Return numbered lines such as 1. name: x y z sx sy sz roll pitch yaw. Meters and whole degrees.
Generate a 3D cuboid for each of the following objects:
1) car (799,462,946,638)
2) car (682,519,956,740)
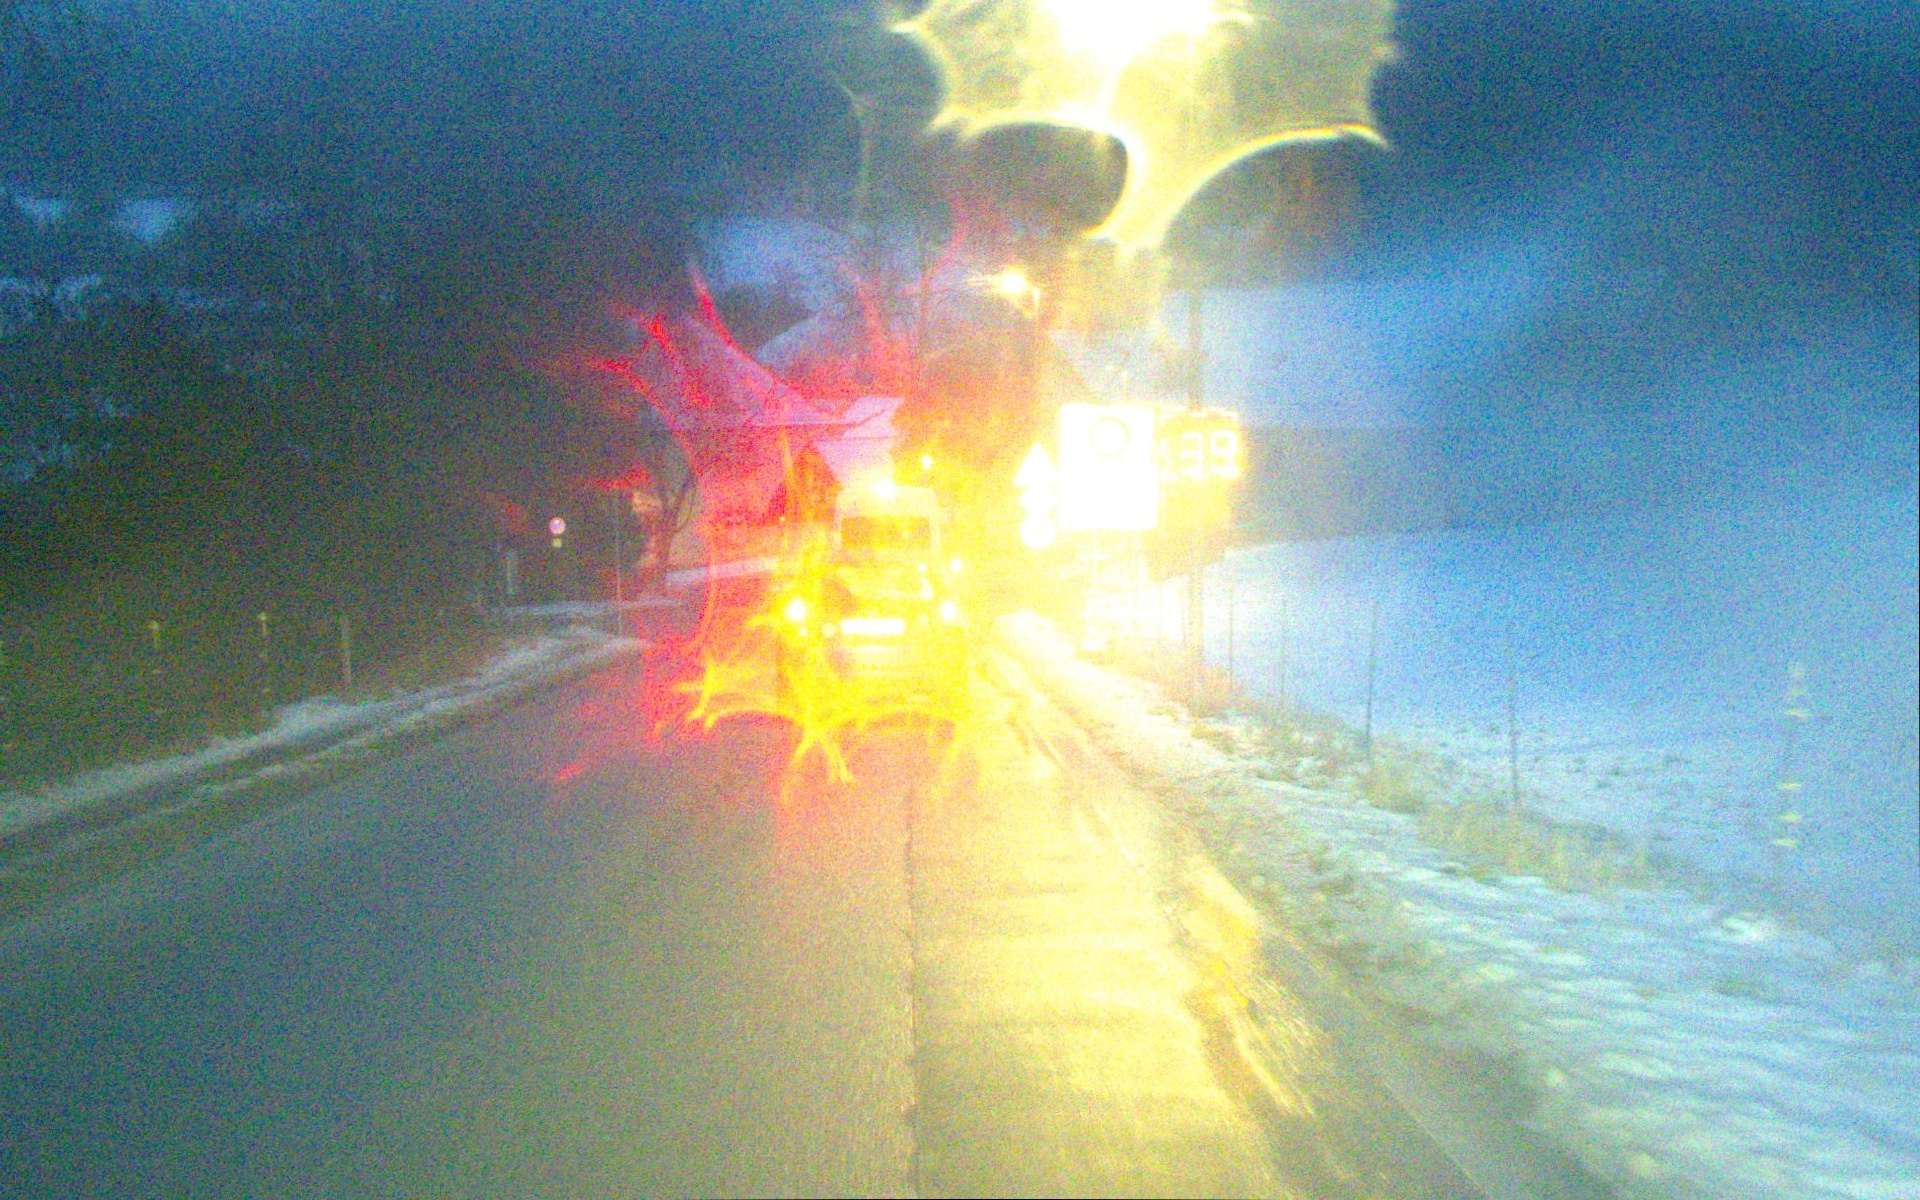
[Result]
1. car: -1.555 -0.849 63.282 2.435 3.008 5.325 -2 -1 0
2. car: -1.264 0.225 31.387 2.274 1.834 5.007 -1 1 -2
